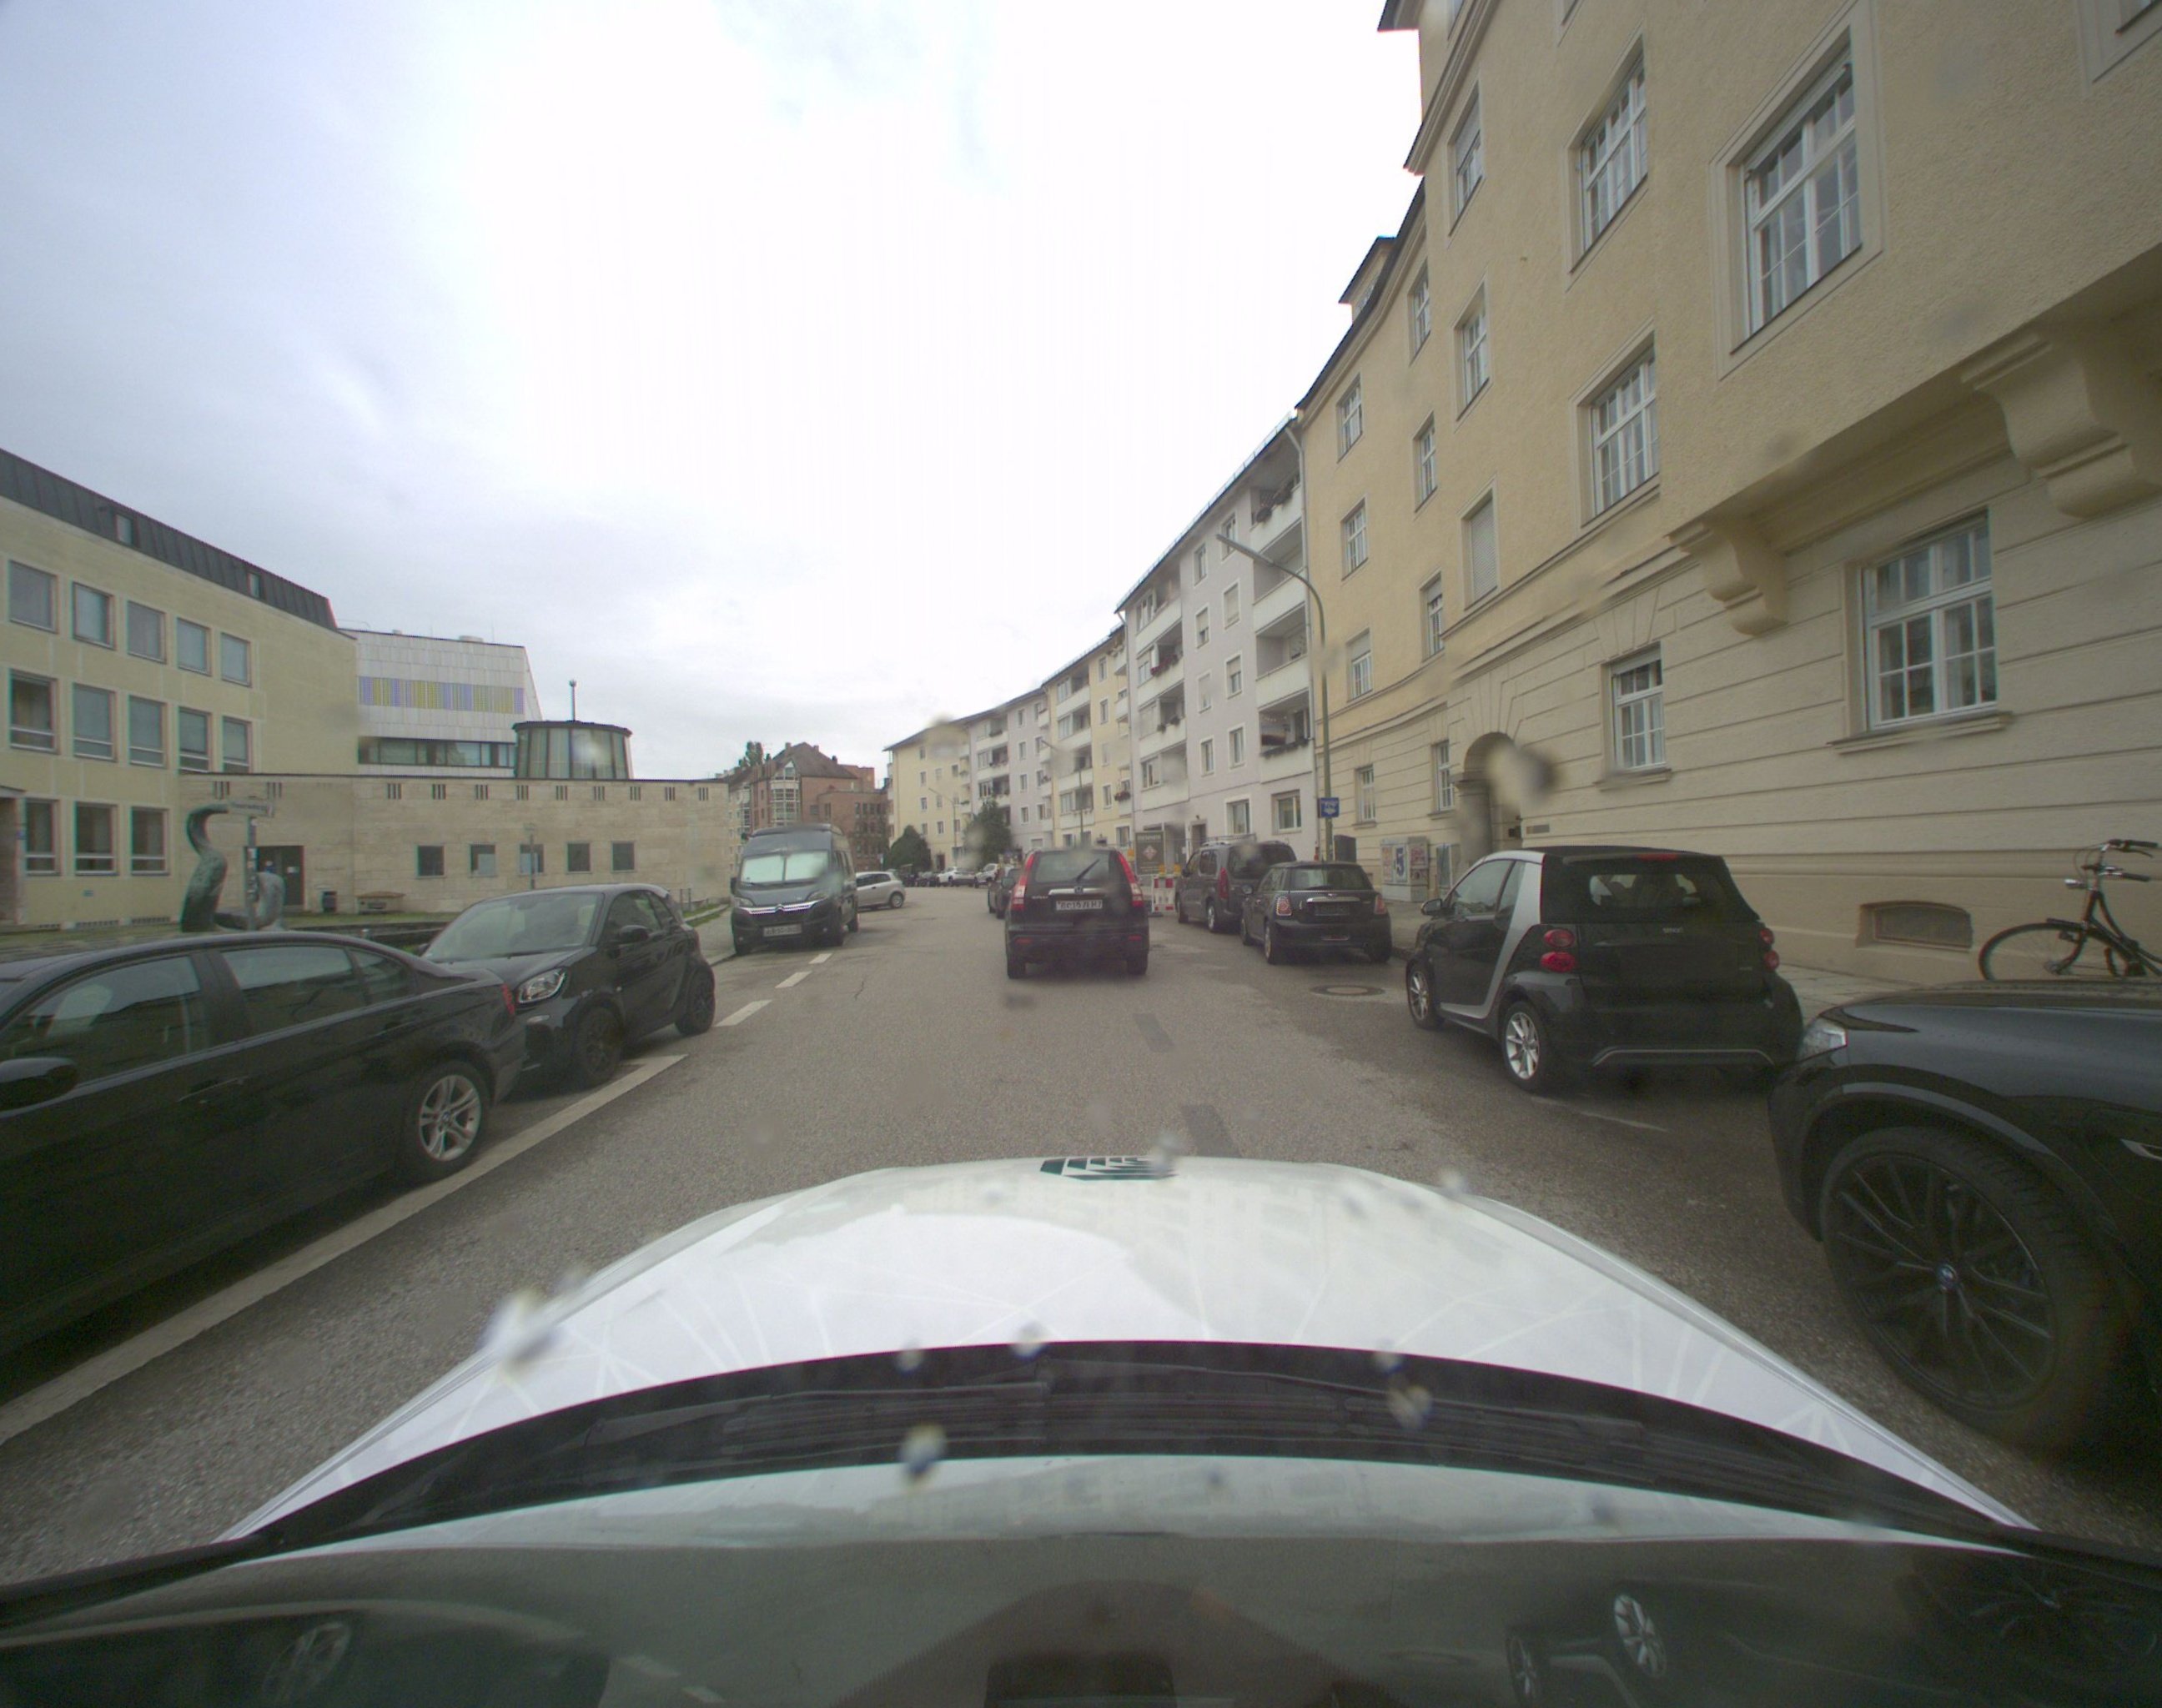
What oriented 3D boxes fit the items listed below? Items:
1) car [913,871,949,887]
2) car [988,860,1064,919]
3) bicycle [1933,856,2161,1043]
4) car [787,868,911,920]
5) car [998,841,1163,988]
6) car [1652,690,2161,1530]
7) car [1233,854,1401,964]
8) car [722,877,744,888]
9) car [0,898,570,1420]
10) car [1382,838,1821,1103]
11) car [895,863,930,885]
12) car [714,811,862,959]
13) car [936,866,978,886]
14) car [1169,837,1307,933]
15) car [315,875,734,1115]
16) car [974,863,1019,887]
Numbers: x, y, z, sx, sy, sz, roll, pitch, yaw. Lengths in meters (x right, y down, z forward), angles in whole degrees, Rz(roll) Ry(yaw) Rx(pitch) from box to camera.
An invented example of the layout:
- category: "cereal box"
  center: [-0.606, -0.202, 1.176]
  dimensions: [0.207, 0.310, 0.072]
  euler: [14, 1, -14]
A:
- category: "car"
  center: [-12.458, 2.037, 67.603]
  dimensions: [1.709, 1.236, 3.565]
  euler: [-1, -1, -32]
- category: "car"
  center: [-1.645, 0.947, 23.048]
  dimensions: [1.679, 1.481, 4.071]
  euler: [-2, -1, -10]
- category: "bicycle"
  center: [6.805, 0.580, 5.239]
  dimensions: [0.577, 1.083, 1.954]
  euler: [-5, 0, 2]
- category: "car"
  center: [-8.633, 1.463, 30.508]
  dimensions: [1.663, 1.481, 4.113]
  euler: [-7, -2, 41]
- category: "car"
  center: [-0.120, 0.723, 11.487]
  dimensions: [1.887, 1.647, 3.985]
  euler: [-2, -1, -4]
- category: "car"
  center: [3.096, 0.507, 0.760]
  dimensions: [1.861, 1.717, 4.868]
  euler: [-1, -1, 2]
- category: "car"
  center: [3.491, 0.752, 12.753]
  dimensions: [1.701, 1.447, 3.833]
  euler: [-1, -1, 3]
- category: "car"
  center: [-50.067, 4.028, 117.190]
  dimensions: [1.823, 1.472, 4.068]
  euler: [-1, -1, -41]
- category: "car"
  center: [-4.150, 1.021, 3.060]
  dimensions: [1.795, 1.406, 4.449]
  euler: [-4, 0, -4]
- category: "car"
  center: [3.589, 0.694, 6.290]
  dimensions: [1.528, 1.524, 3.113]
  euler: [-1, -1, 3]
- category: "car"
  center: [-14.822, 1.762, 71.472]
  dimensions: [1.736, 1.878, 3.959]
  euler: [-1, -1, -32]
- category: "car"
  center: [-6.254, 0.591, 18.202]
  dimensions: [2.166, 2.641, 5.992]
  euler: [-3, 0, -12]
- category: "car"
  center: [-9.678, 1.703, 63.346]
  dimensions: [1.736, 1.483, 3.959]
  euler: [-1, -1, -32]
- category: "car"
  center: [3.232, 0.607, 17.680]
  dimensions: [1.775, 1.807, 4.266]
  euler: [0, -1, -6]
- category: "car"
  center: [-4.484, 1.007, 7.145]
  dimensions: [1.667, 1.502, 2.973]
  euler: [-4, 0, -4]
- category: "car"
  center: [-5.675, 1.398, 54.481]
  dimensions: [1.733, 1.483, 3.966]
  euler: [-1, -1, -26]
